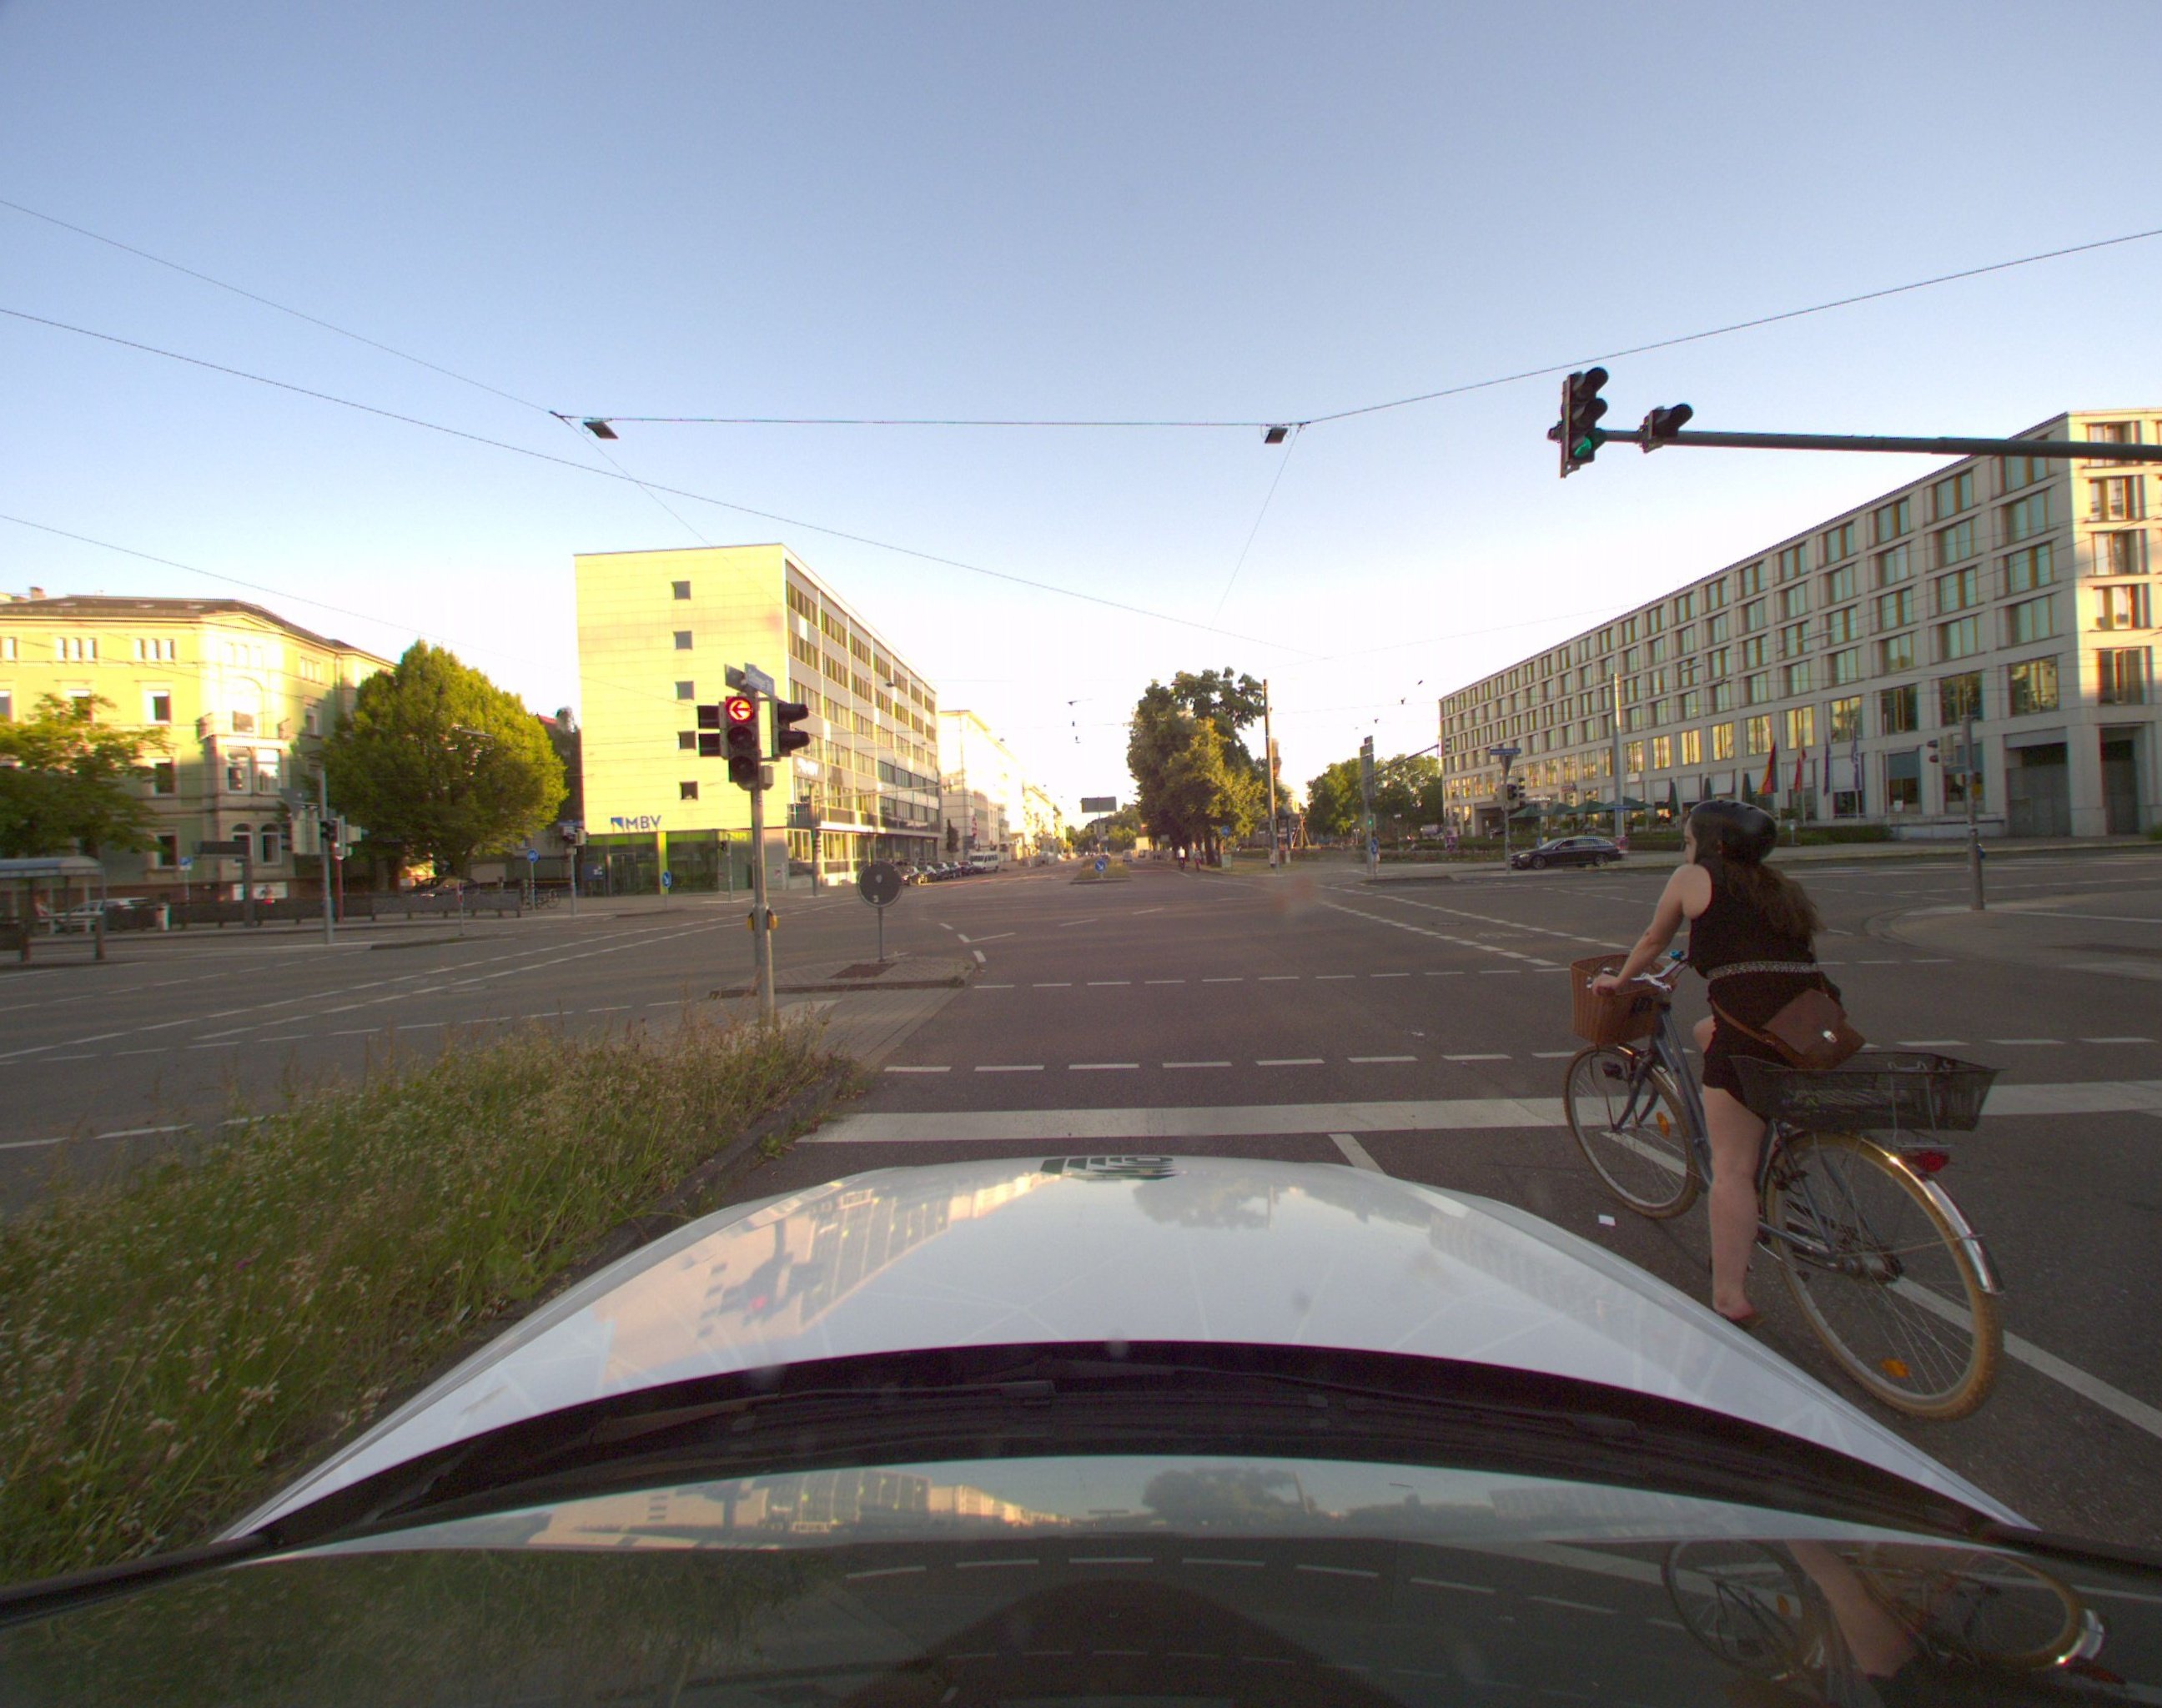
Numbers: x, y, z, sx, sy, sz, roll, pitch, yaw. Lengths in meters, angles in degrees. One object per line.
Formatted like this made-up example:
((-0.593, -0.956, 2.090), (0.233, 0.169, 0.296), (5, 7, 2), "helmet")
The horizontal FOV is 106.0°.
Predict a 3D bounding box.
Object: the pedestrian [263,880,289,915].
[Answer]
((-42.757, 2.282, 43.261), (0.641, 1.790, 0.720), (-3, 0, -12), "pedestrian")

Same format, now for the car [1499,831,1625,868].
((23.109, -0.219, 39.278), (4.803, 1.515, 2.002), (-3, 0, 3), "car")

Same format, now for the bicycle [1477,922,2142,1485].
((2.178, 0.897, 2.896), (0.609, 1.132, 2.005), (-1, 0, 2), "bicycle")

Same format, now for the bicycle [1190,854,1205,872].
((8.019, 0.597, 56.070), (0.744, 1.144, 2.506), (-3, 0, 2), "bicycle")

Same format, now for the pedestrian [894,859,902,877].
((-17.666, 1.336, 78.666), (0.549, 1.679, 0.500), (-3, 0, 1), "pedestrian")

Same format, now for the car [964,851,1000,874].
((-11.089, 0.912, 91.681), (1.988, 2.478, 5.888), (-3, 0, 12), "car")

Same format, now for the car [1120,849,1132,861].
((6.415, 0.162, 115.798), (1.403, 1.641, 4.000), (-3, 0, 1), "car")

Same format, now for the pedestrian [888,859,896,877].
((-18.257, 1.340, 78.640), (0.549, 1.679, 0.500), (-3, 0, 1), "pedestrian")

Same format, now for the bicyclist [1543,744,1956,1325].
((2.172, 0.510, 2.803), (0.597, 1.636, 0.999), (-1, 0, 2), "bicyclist")

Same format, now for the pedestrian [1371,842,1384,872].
((15.847, 0.160, 43.594), (0.489, 1.540, 0.408), (-3, 0, 1), "pedestrian")

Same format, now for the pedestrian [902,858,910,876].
((-16.999, 1.284, 79.104), (0.498, 1.679, 0.500), (-3, 0, 1), "pedestrian")

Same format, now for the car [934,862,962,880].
((-12.880, 1.615, 79.022), (1.913, 1.568, 4.002), (-3, 0, 2), "car")

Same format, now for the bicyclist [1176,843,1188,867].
((7.234, 0.083, 58.299), (0.744, 1.663, 0.873), (-3, 0, 1), "bicyclist")

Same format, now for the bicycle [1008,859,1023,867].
((-10.075, 1.377, 125.878), (2.198, 1.112, 0.619), (-3, 0, 0), "bicycle")

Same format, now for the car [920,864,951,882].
((-13.131, 1.723, 73.720), (1.913, 1.464, 4.002), (-3, 0, 2), "car")

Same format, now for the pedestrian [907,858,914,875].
((-16.436, 1.194, 78.465), (0.549, 1.679, 0.500), (-3, 0, 1), "pedestrian")

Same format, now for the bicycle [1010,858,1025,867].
((-10.066, 1.364, 129.330), (2.198, 1.236, 0.839), (-3, 0, 0), "bicycle")

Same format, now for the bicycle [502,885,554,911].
((-26.987, 2.134, 39.808), (0.832, 1.112, 2.216), (-3, 0, 6), "bicycle")

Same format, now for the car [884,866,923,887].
((-13.533, 1.695, 62.376), (1.913, 1.464, 4.105), (-3, 0, 2), "car")

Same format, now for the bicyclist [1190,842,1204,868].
((7.992, 0.061, 56.079), (0.744, 1.691, 0.799), (-3, 0, 1), "bicyclist")

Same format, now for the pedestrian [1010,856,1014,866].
((-13.971, 1.444, 165.559), (0.677, 2.013, 0.545), (-3, 0, 1), "pedestrian")

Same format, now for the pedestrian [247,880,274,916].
((-42.789, 2.272, 42.464), (0.641, 1.790, 0.720), (-3, 0, -12), "pedestrian")

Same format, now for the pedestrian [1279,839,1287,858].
((17.799, -0.454, 71.703), (0.458, 1.656, 0.567), (-3, 0, 1), "pedestrian")

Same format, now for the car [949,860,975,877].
((-12.414, 1.489, 85.245), (1.913, 1.568, 4.002), (-3, 0, 2), "car")

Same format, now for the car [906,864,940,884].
((-13.337, 1.684, 68.907), (1.913, 1.464, 4.002), (-3, 0, 2), "car")

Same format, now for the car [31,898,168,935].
((-45.278, 2.871, 37.654), (3.588, 1.372, 1.833), (-3, 0, -15), "car")

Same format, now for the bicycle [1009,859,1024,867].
((-10.042, 1.406, 127.552), (2.198, 1.112, 0.689), (-3, 0, 0), "bicycle")

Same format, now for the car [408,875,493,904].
((-35.091, 1.946, 45.457), (1.830, 1.372, 3.594), (-3, 0, 0), "car")

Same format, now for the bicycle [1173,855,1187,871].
((7.133, 0.638, 58.579), (0.744, 1.144, 2.506), (-3, 0, 2), "bicycle")

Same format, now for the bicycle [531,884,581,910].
((-25.699, 2.103, 39.924), (0.832, 1.112, 2.216), (-3, 0, 6), "bicycle")
